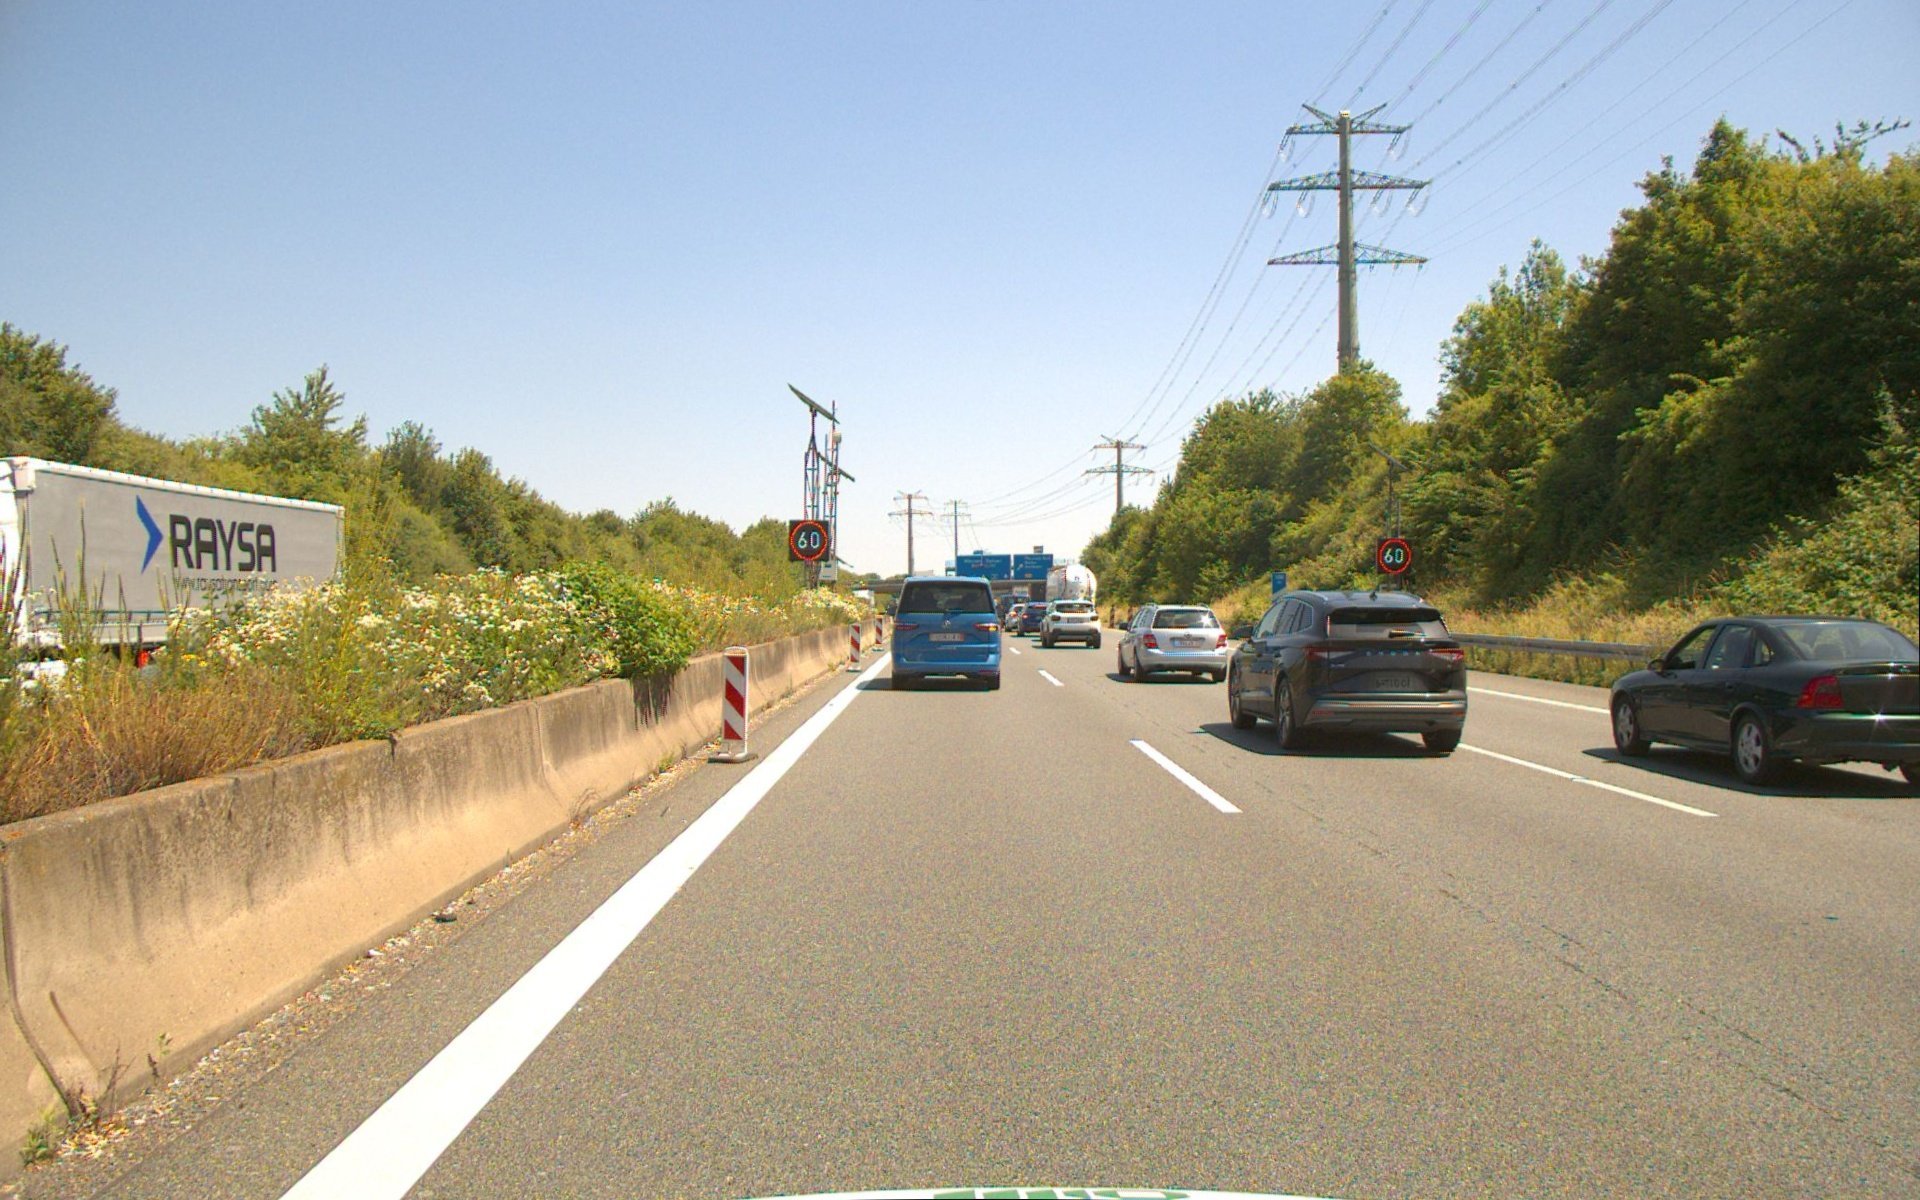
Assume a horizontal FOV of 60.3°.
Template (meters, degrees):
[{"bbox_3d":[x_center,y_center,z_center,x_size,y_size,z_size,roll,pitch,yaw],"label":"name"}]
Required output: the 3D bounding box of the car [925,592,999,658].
[{"bbox_3d":[0.008,0.642,44.368,1.870,1.659,4.382,0,0,-2],"label":"car"}]

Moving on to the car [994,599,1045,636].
[{"bbox_3d":[2.582,0.762,72.763,1.870,1.542,4.381,1,0,-2],"label":"car"}]

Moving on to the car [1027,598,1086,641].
[{"bbox_3d":[3.745,0.741,64.886,1.870,1.597,4.381,1,0,-2],"label":"car"}]

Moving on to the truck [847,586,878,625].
[{"bbox_3d":[-10.494,0.598,178.507,2.707,3.956,9.027,-3,0,-1],"label":"truck"}]

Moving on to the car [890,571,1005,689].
[{"bbox_3d":[-0.297,0.502,29.413,1.833,1.912,4.381,1,0,-3],"label":"car"}]

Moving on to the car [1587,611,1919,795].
[{"bbox_3d":[7.468,0.833,15.114,1.700,1.402,4.300,1,0,-2],"label":"car"}]

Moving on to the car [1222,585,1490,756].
[{"bbox_3d":[4.179,0.672,18.206,1.791,1.642,4.429,1,0,-1],"label":"car"}]

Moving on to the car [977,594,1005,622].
[{"bbox_3d":[2.340,0.627,125.664,1.953,2.049,3.999,1,0,-2],"label":"car"}]

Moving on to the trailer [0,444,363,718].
[{"bbox_3d":[-15.913,-0.230,32.824,2.955,4.239,14.018,-3,0,-1],"label":"trailer"}]

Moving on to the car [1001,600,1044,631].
[{"bbox_3d":[3.202,0.802,85.721,1.870,1.542,4.381,1,0,-2],"label":"car"}]

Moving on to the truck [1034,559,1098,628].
[{"bbox_3d":[6.747,-0.377,107.854,2.591,4.143,16.435,1,0,-1],"label":"truck"}]

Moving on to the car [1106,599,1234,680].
[{"bbox_3d":[4.046,0.726,32.567,1.784,1.462,4.381,1,0,-2],"label":"car"}]

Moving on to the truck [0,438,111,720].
[{"bbox_3d":[-15.851,-0.239,24.909,2.955,4.239,5.804,-3,0,-1],"label":"truck"}]

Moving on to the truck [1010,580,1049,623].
[{"bbox_3d":[6.140,0.133,147.291,2.591,3.600,12.547,1,0,-2],"label":"truck"}]

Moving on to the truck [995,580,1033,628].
[{"bbox_3d":[3.248,0.228,100.123,1.953,2.771,5.678,1,0,-2],"label":"truck"}]

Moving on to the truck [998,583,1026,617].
[{"bbox_3d":[6.885,0.040,220.126,2.878,4.366,12.547,1,0,-2],"label":"truck"}]

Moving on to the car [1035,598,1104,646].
[{"bbox_3d":[3.599,0.707,54.921,1.870,1.534,3.919,1,0,-2],"label":"car"}]
